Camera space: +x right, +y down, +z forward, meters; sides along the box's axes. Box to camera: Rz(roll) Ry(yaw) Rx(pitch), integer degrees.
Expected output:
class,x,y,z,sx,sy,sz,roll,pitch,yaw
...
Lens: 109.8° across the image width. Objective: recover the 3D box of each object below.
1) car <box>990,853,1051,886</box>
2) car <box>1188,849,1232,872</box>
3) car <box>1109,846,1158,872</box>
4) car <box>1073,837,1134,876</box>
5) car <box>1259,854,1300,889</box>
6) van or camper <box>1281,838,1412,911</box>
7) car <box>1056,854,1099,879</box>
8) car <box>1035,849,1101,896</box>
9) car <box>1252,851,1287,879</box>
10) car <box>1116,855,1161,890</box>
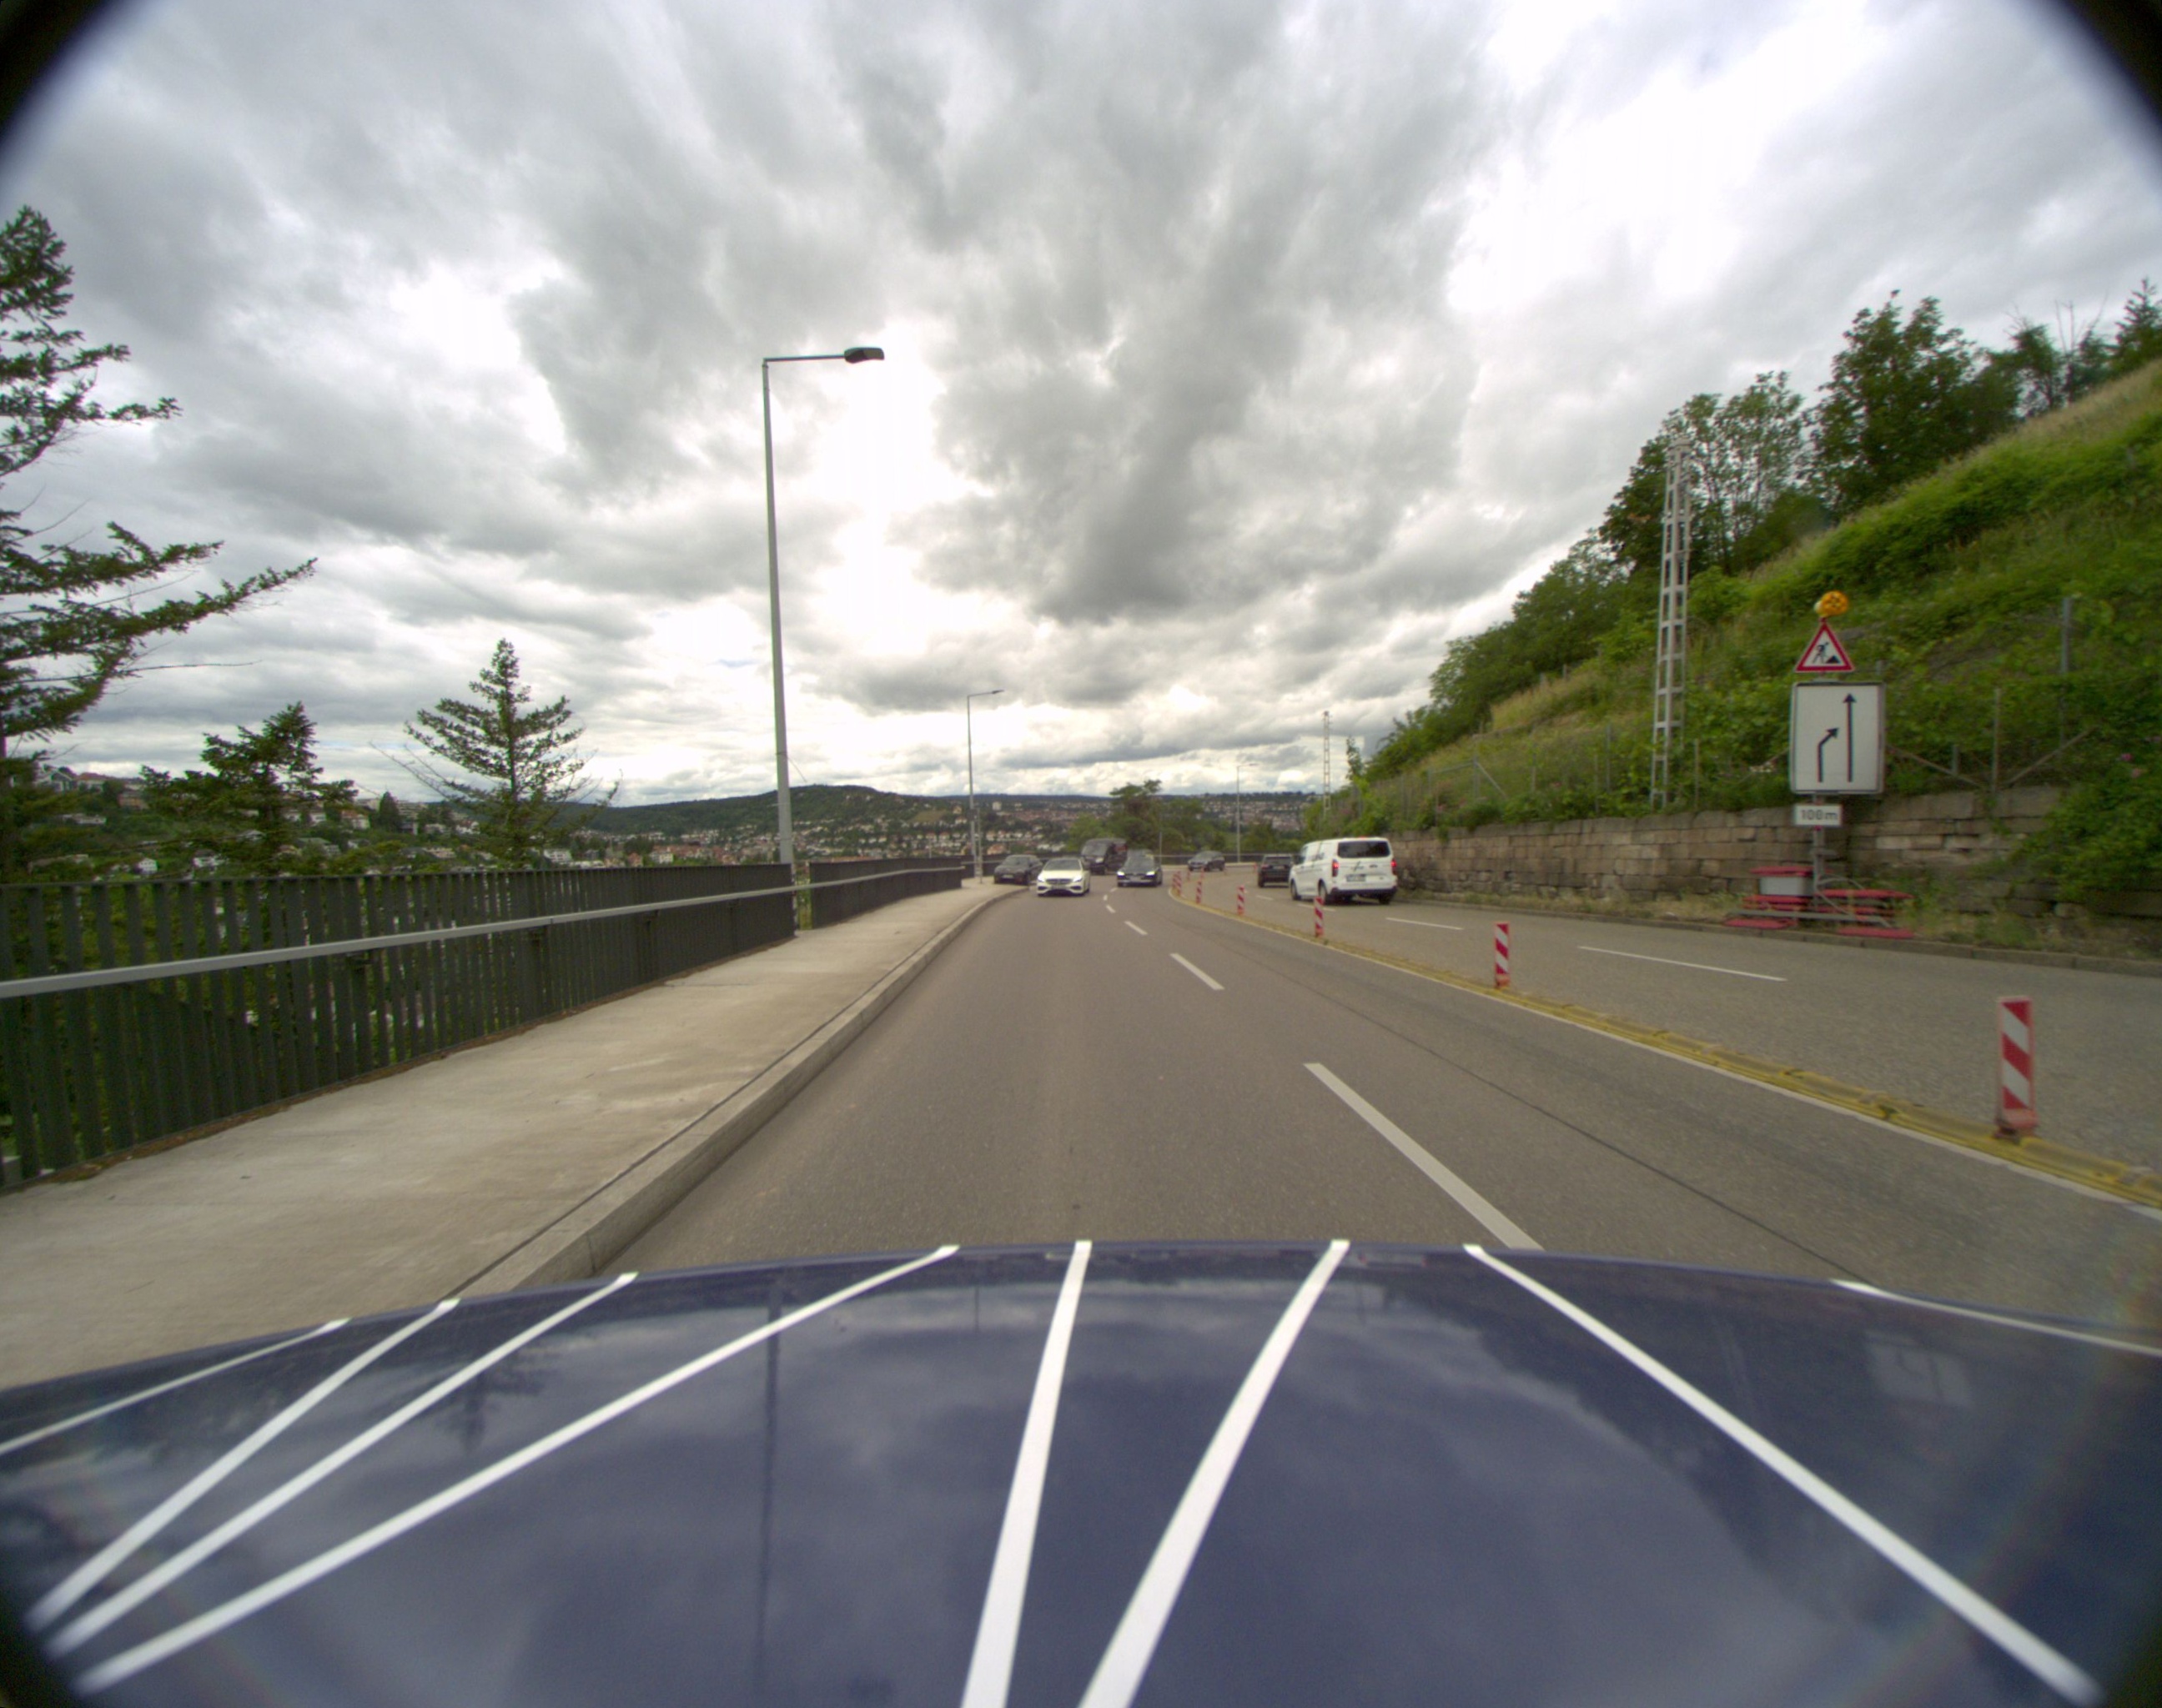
class,x,y,z,sx,sy,sz,roll,pitch,yaw
car,-2.983,0.732,38.173,1.877,1.534,4.093,0,1,13
car,10.671,0.501,62.702,1.994,1.662,4.546,3,2,31
car,4.090,0.342,58.838,1.994,1.709,5.057,3,3,25
car,1.670,0.130,53.108,2.168,2.508,5.780,4,2,23
car,9.997,0.833,38.069,1.867,1.614,4.353,-1,0,16
van or camper,8.075,0.608,23.740,2.153,2.004,4.963,-1,-1,-2
car,-0.176,0.739,47.172,1.716,1.423,3.854,1,1,15
car,-0.452,0.770,30.125,1.997,1.707,4.004,-1,-3,8
car,12.985,0.698,52.130,1.845,1.716,4.469,0,1,20
car,2.862,0.873,37.141,1.899,1.485,4.143,1,2,8
